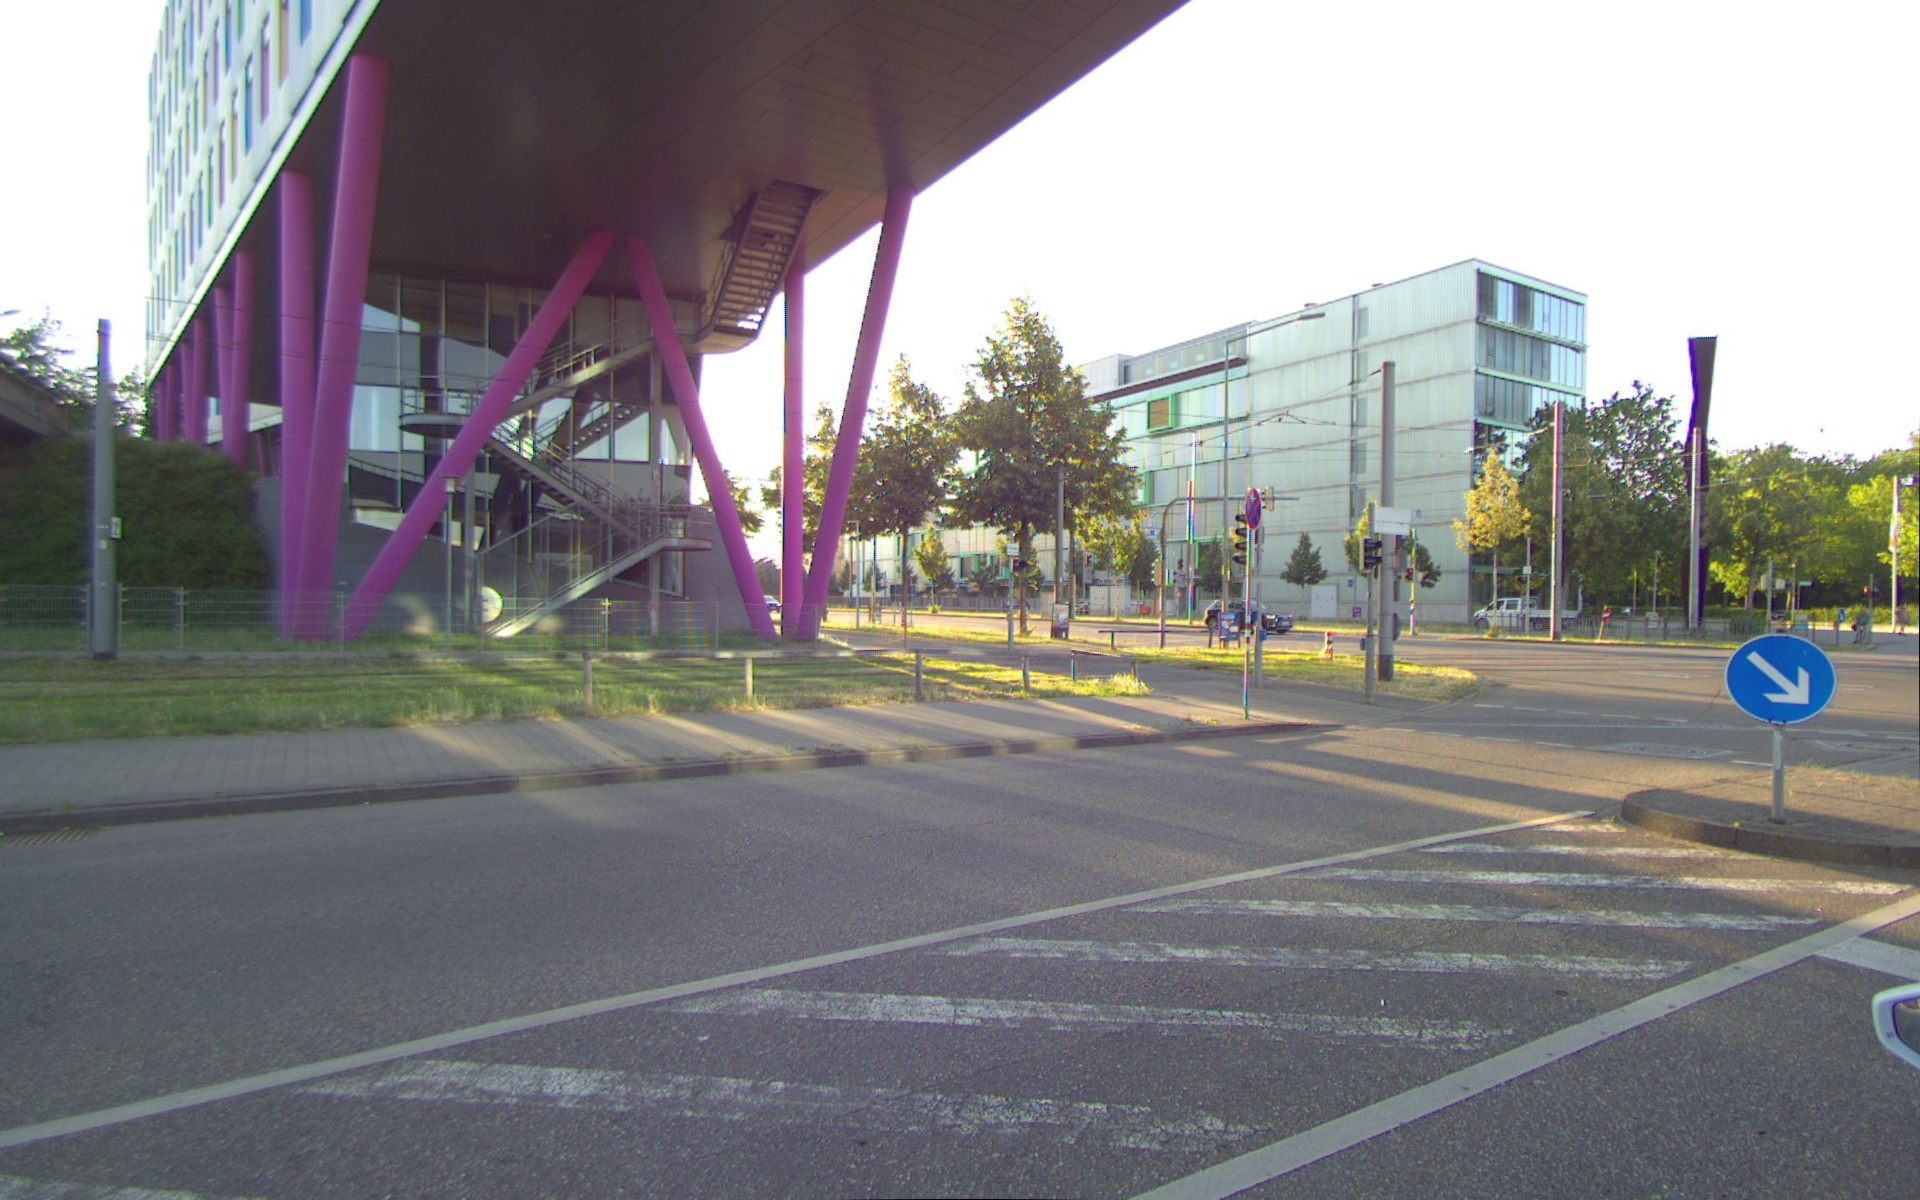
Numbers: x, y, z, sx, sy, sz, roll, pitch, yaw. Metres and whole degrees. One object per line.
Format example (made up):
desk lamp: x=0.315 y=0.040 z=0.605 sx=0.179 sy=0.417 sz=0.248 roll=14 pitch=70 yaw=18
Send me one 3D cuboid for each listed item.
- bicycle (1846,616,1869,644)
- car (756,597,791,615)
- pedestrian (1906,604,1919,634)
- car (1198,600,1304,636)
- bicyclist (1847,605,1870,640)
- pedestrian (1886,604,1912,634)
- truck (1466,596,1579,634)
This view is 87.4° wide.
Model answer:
bicycle: x=45.193 y=1.491 z=50.584 sx=0.721 sy=1.359 sz=2.679 roll=1 pitch=0 yaw=39
car: x=-17.302 y=0.518 z=92.869 sx=1.973 sy=1.572 sz=5.210 roll=2 pitch=-1 yaw=-24
pedestrian: x=57.165 y=1.115 z=59.829 sx=0.813 sy=1.767 sz=0.863 roll=1 pitch=0 yaw=11
car: x=13.306 y=0.800 z=46.204 sx=1.968 sy=1.577 sz=4.448 roll=1 pitch=0 yaw=-34
bicyclist: x=45.107 y=1.128 z=50.434 sx=0.741 sy=1.732 sz=0.916 roll=1 pitch=0 yaw=38
pedestrian: x=56.090 y=1.133 z=60.021 sx=0.813 sy=1.767 sz=0.863 roll=1 pitch=0 yaw=16
truck: x=33.028 y=0.834 z=59.153 sx=2.044 sy=2.082 sz=5.528 roll=1 pitch=0 yaw=-31
